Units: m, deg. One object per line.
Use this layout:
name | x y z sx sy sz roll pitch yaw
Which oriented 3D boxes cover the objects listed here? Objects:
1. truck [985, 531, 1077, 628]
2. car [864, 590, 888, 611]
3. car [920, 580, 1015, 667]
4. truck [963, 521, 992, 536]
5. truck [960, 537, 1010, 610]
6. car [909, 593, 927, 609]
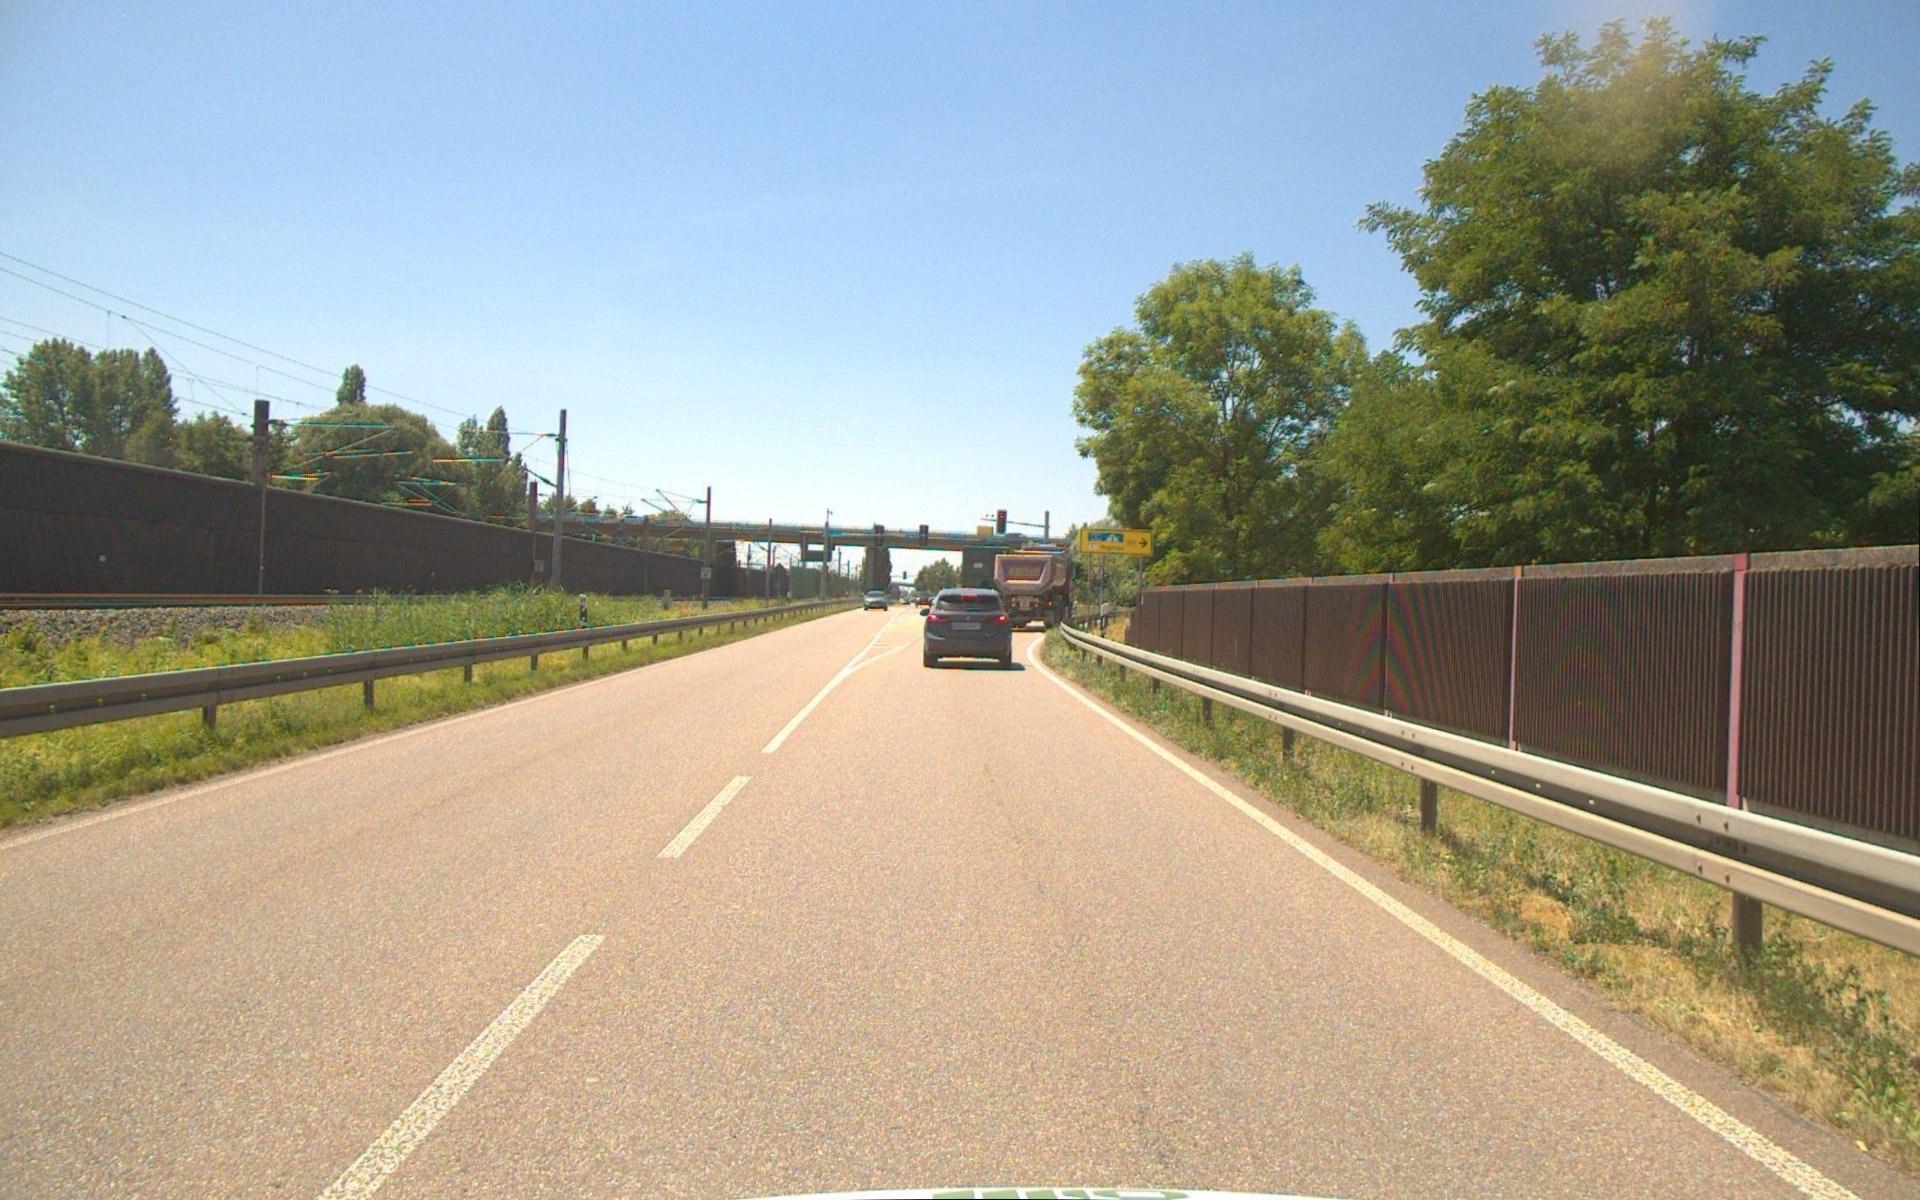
truck | 3.292 -0.821 72.927 2.773 3.888 11.895 1 0 8
car | -6.398 0.009 126.144 1.827 1.511 4.885 1 0 -3
car | 0.171 0.455 34.257 1.807 1.651 4.226 1 0 1
truck | 2.447 -10.006 231.834 3.903 2.049 2.001 1 0 5
truck | 1.338 -1.472 92.019 2.536 3.803 9.575 1 1 0
car | -4.961 0.150 197.213 1.887 1.798 4.598 2 1 1
